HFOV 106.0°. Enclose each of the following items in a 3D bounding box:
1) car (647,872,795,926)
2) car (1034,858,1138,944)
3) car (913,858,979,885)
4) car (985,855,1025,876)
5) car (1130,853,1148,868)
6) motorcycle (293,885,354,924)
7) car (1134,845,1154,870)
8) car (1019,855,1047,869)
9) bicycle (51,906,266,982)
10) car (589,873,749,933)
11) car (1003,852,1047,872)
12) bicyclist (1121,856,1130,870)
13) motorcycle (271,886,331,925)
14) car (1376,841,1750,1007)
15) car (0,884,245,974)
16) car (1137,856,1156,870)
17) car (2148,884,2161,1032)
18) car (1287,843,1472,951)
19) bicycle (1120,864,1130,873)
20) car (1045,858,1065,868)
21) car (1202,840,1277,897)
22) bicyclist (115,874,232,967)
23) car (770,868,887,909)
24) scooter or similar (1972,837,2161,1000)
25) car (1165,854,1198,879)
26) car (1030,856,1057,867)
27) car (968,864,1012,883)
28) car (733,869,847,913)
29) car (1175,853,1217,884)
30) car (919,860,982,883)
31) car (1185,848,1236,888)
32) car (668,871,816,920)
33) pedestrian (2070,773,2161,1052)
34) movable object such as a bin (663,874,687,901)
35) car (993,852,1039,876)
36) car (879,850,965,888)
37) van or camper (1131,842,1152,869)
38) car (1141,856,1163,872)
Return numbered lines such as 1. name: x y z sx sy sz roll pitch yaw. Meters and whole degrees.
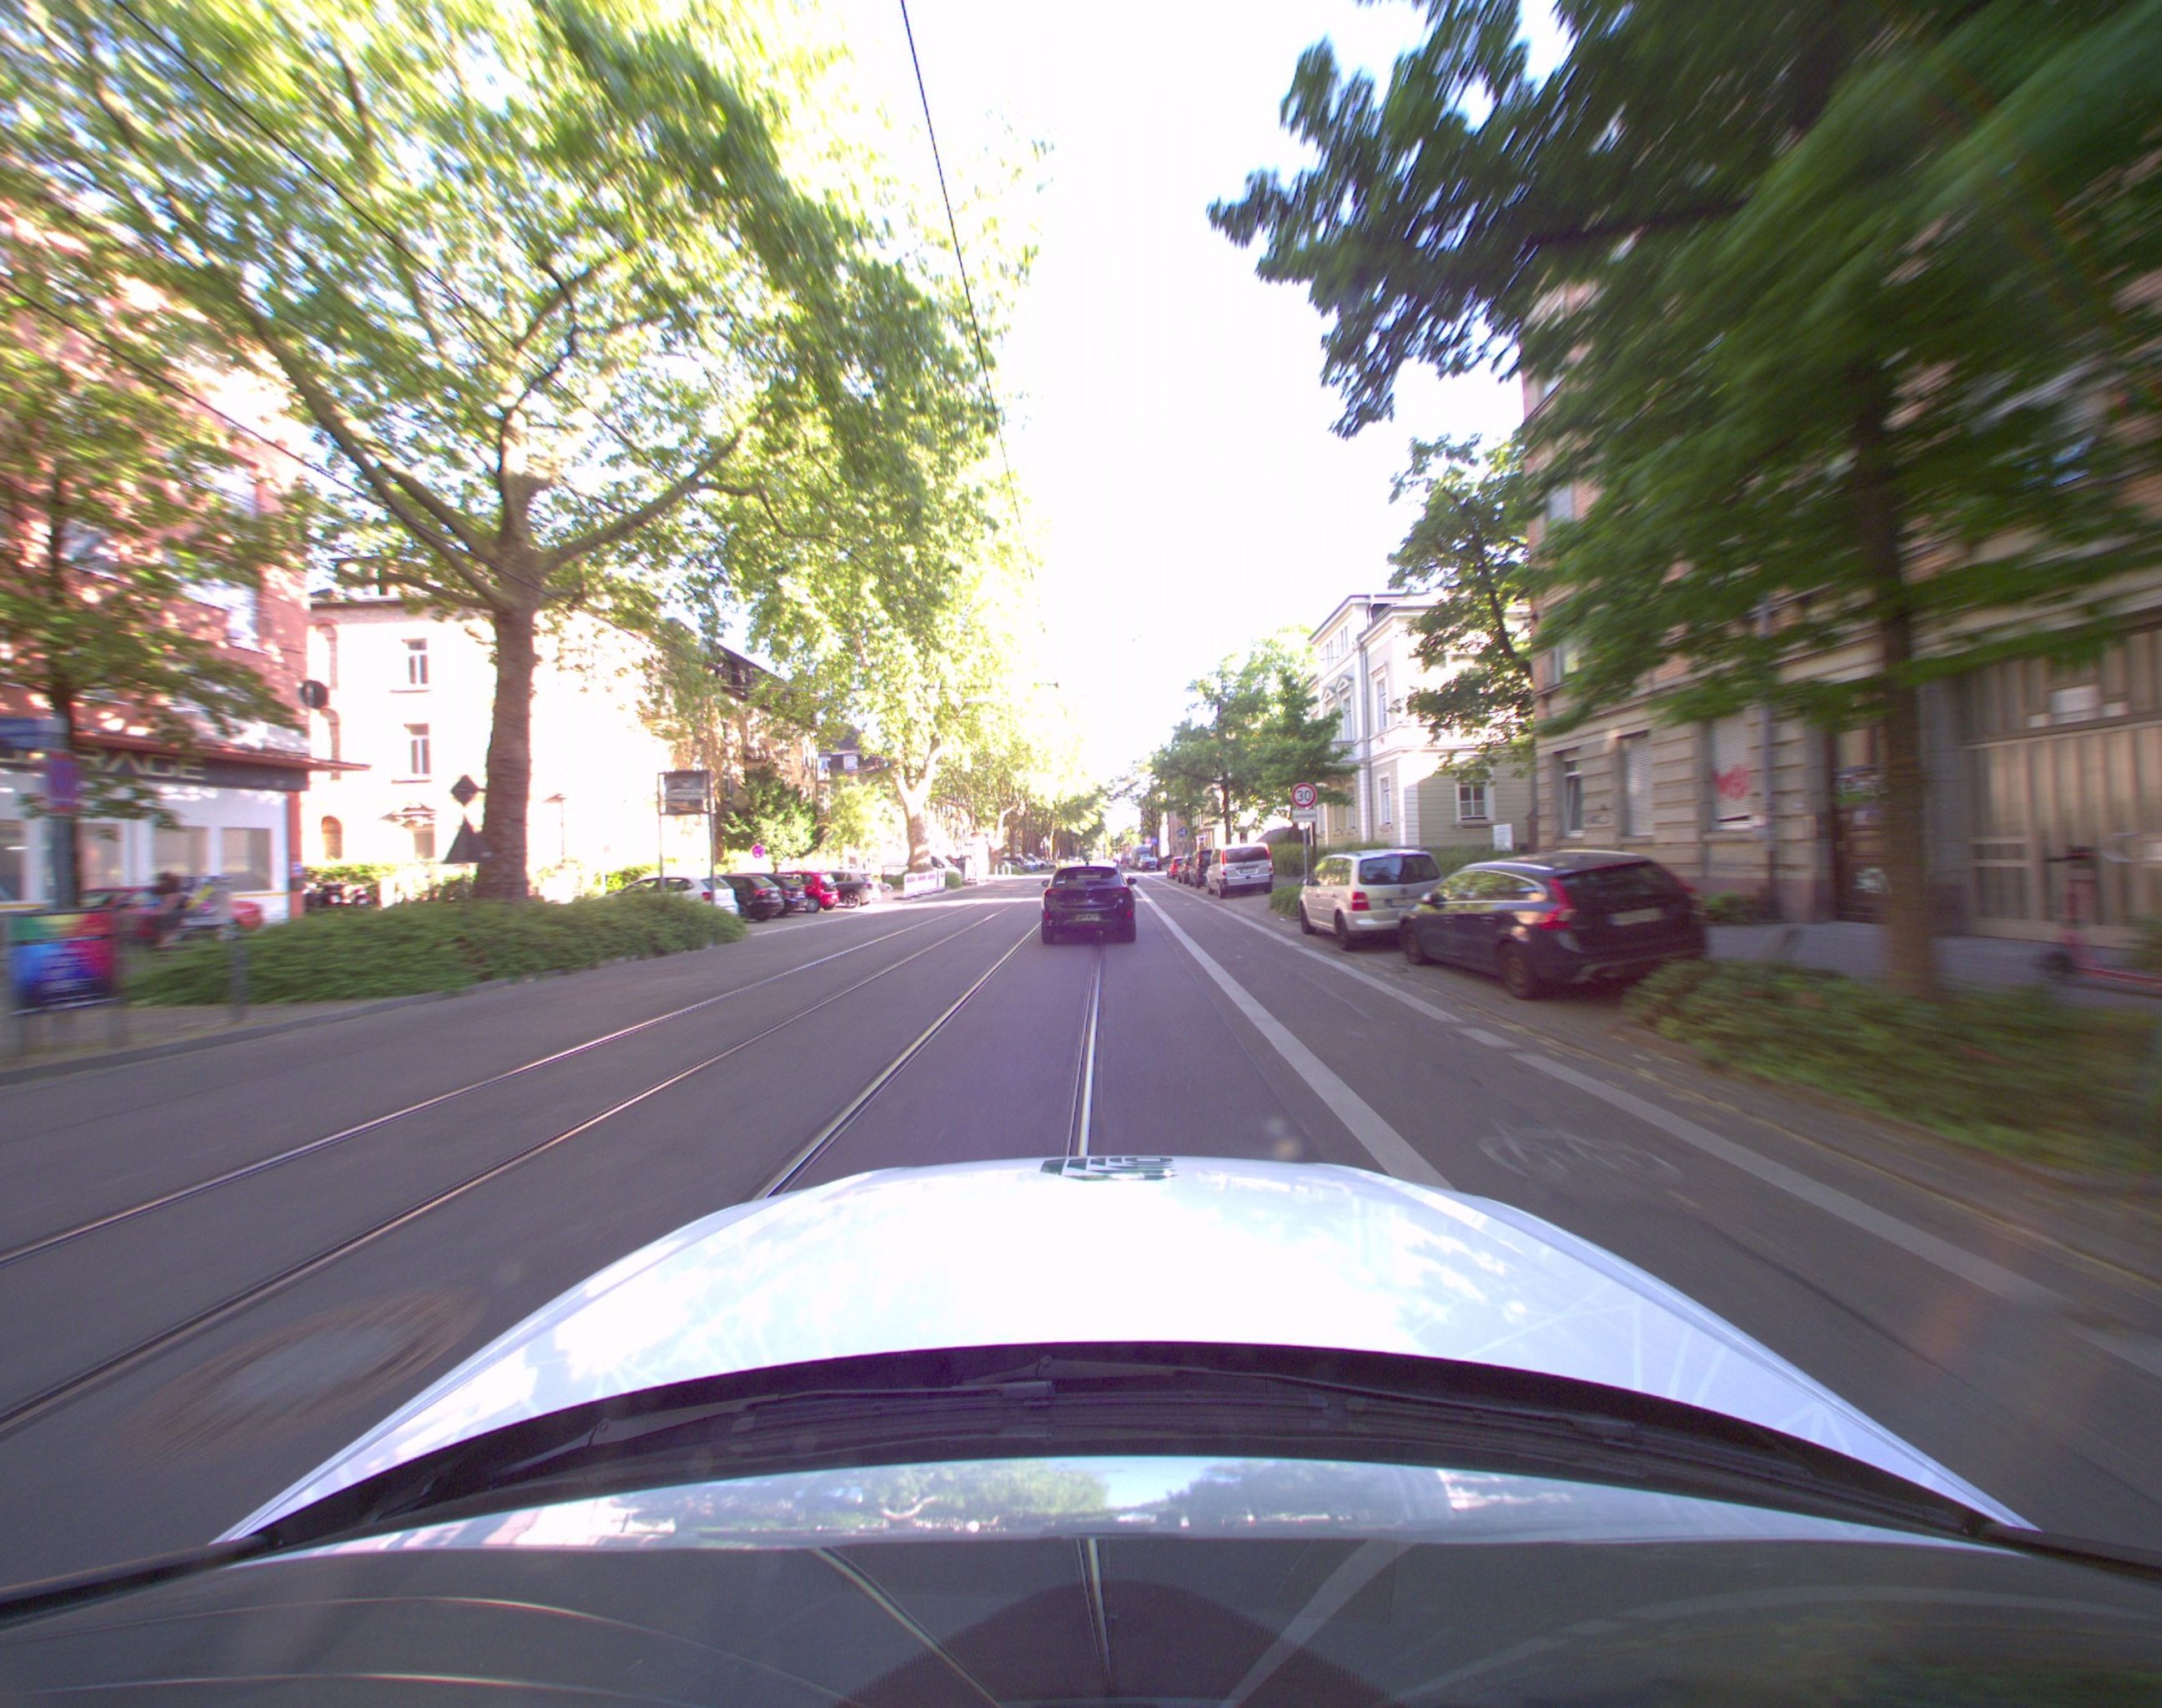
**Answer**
1. car: -10.582 1.303 24.093 3.586 1.465 1.688 -1 -1 3
2. car: 0.155 0.822 15.967 1.756 1.460 3.952 -1 0 2
3. car: -9.521 1.199 57.552 4.287 1.801 1.925 -1 0 -1
4. car: -8.448 1.287 90.776 4.294 1.840 1.779 -5 -1 -6
5. car: 7.891 0.868 111.481 2.245 1.840 5.533 -3 -1 2
6. motorcycle: -26.975 1.783 29.037 0.639 1.303 1.628 -1 -1 1
7. car: 7.525 0.429 97.721 2.077 2.772 4.699 -3 0 2
8. car: -7.302 1.260 123.609 3.983 2.014 1.995 -1 -1 -7
9. bicycle: -15.529 1.468 13.864 0.967 0.999 2.576 -1 -1 -8
10. car: -10.959 1.277 21.803 3.404 1.465 1.699 -1 -1 4
11. car: -7.574 1.043 110.184 5.611 2.593 2.199 -1 -1 5
12. bicyclist: 4.957 1.029 91.437 0.955 1.499 1.094 -1 -1 0
13. motorcycle: -27.763 1.806 29.013 0.591 1.288 1.563 -1 -1 1
14. car: 5.478 0.695 10.154 1.878 1.467 4.593 -4 -1 0
15. car: -20.187 1.433 16.651 1.940 1.487 4.002 -1 0 2
16. car: 7.247 1.043 90.513 1.796 1.434 4.001 -3 -2 2
17. car: 4.931 0.714 0.986 1.877 1.368 4.108 -4 -1 2
18. car: 5.245 0.689 14.976 1.877 1.568 4.244 -4 -1 2
19. bicycle: 4.970 1.606 91.447 0.964 0.999 2.583 -1 0 1
20. car: -5.457 1.880 172.847 3.964 2.014 2.005 -1 -1 8
21. car: 5.859 0.510 30.739 1.877 1.851 4.969 -4 -1 2
22. bicyclist: -15.562 1.106 14.008 0.799 1.507 1.113 -1 -1 -9
23. car: -9.903 1.338 32.154 3.972 1.465 1.855 -1 -1 1
24. scooter or similar: 8.649 0.500 6.965 0.573 1.246 1.336 -3 -1 3
25. car: 6.654 0.832 54.321 1.696 1.423 3.980 -5 -1 2
26. car: -6.314 1.275 136.514 4.351 1.665 1.995 -1 -1 -7
27. car: -9.297 1.982 83.513 4.294 1.593 1.779 -5 -1 -6
28. car: -10.406 1.320 29.316 3.404 1.465 1.761 -1 -1 4
29. car: 6.387 0.803 45.517 1.706 1.514 4.037 -4 -1 1
30. car: -9.601 1.261 60.189 4.287 1.607 1.925 -1 0 -1
31. car: 6.254 0.645 39.822 1.878 1.766 4.680 -2 -1 2
32. car: -11.071 1.354 26.744 4.064 1.465 1.822 -1 -1 3
33. pedestrian: 6.904 0.350 4.893 0.725 1.693 0.955 -1 -1 -5
34. movable object such as a bin: -17.317 1.411 34.741 0.721 1.109 0.543 -1 -1 3
35. car: -7.770 1.192 97.463 5.017 2.374 2.082 -5 -1 2
36. car: -10.020 0.933 51.629 5.019 2.259 2.084 -1 0 -2
37. van or camper: 7.718 0.200 104.288 2.245 3.216 5.533 -3 -1 2
38. car: 6.955 0.952 80.116 1.877 1.434 4.532 -4 -1 2
